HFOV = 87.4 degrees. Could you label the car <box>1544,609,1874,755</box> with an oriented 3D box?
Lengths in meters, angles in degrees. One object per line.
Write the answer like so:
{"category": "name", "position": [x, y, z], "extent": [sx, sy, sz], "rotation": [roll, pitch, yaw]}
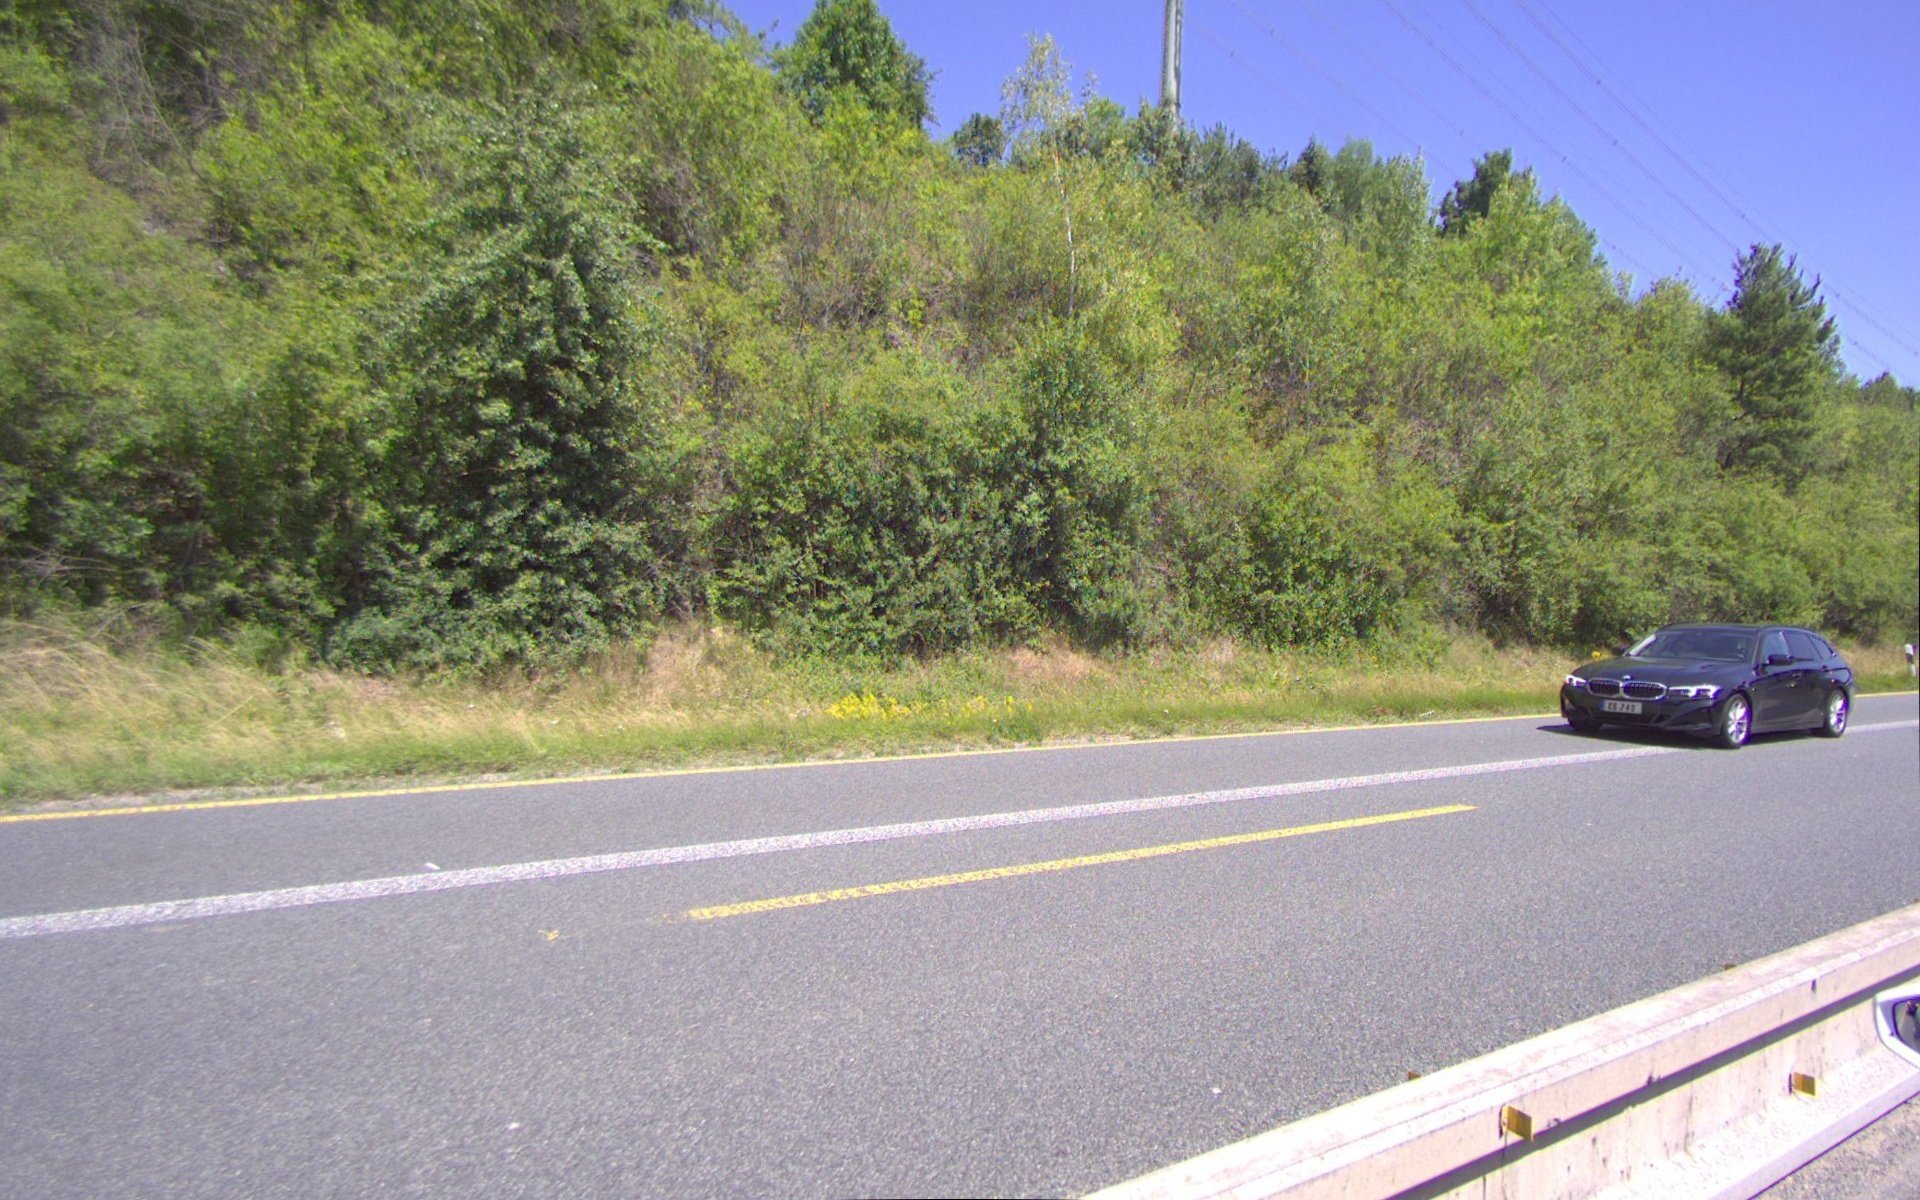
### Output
{"category": "car", "position": [9.694, 0.953, 12.917], "extent": [4.478, 1.545, 1.784], "rotation": [1, 1, -30]}
